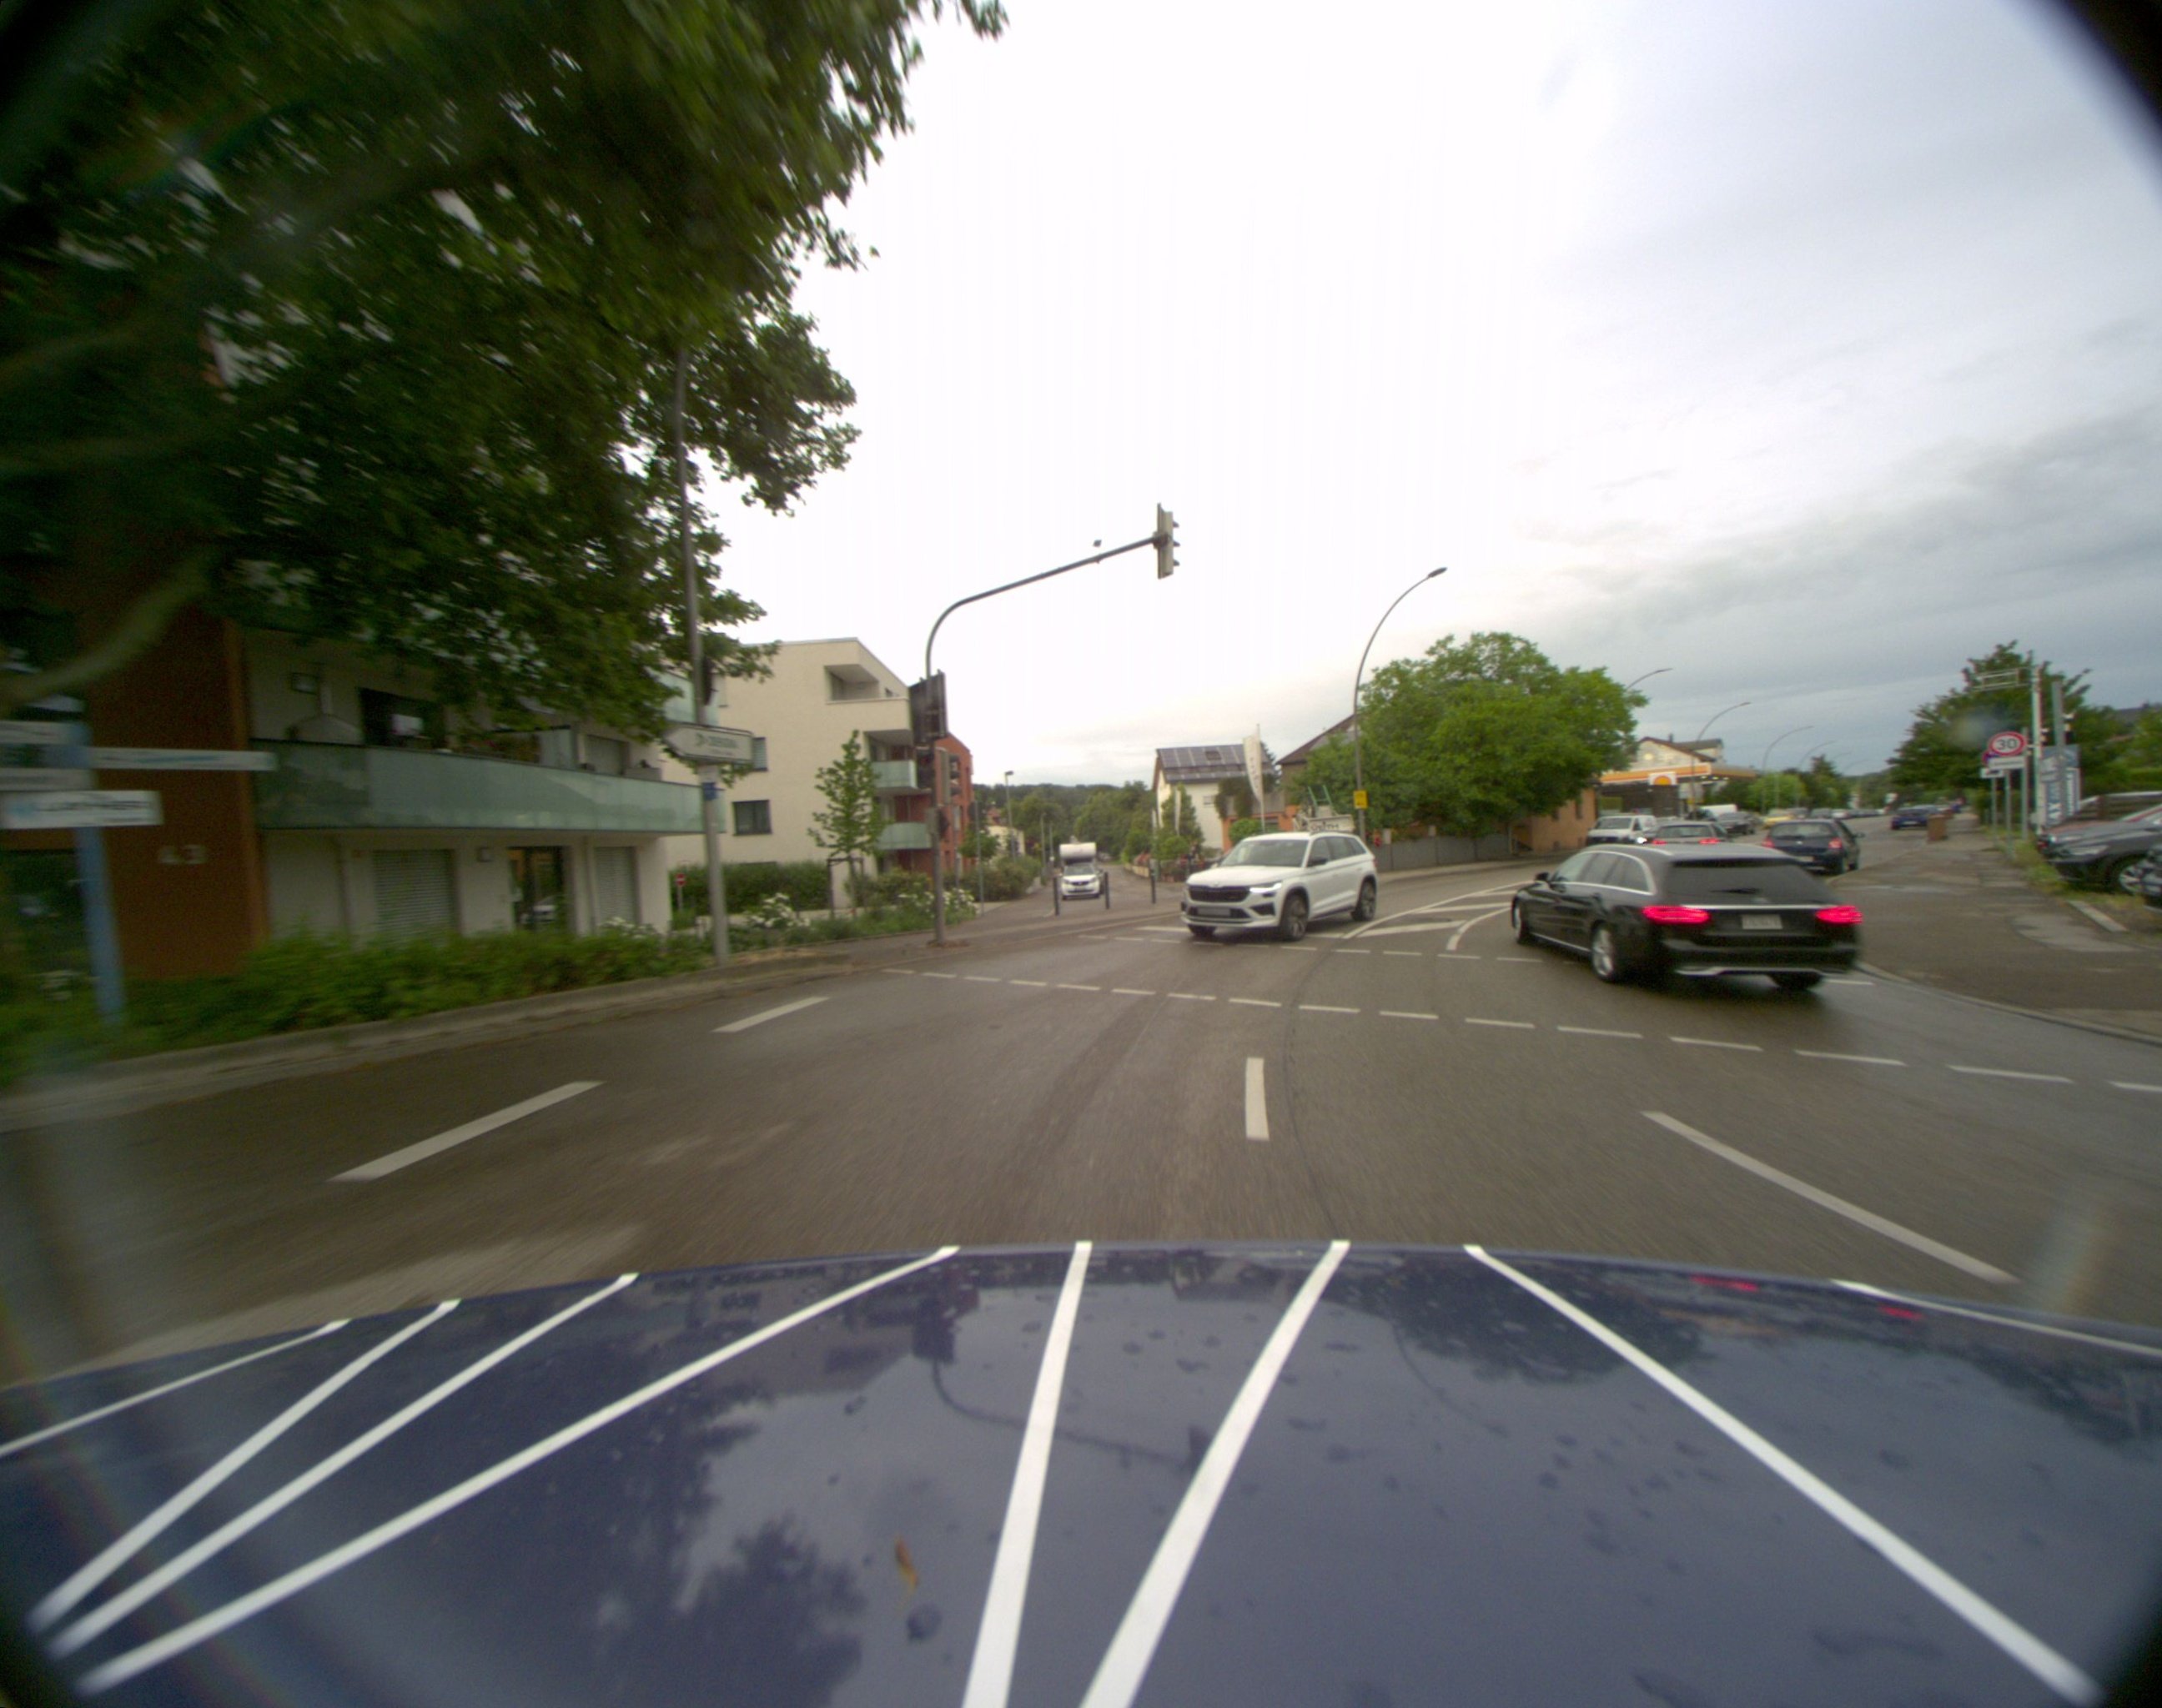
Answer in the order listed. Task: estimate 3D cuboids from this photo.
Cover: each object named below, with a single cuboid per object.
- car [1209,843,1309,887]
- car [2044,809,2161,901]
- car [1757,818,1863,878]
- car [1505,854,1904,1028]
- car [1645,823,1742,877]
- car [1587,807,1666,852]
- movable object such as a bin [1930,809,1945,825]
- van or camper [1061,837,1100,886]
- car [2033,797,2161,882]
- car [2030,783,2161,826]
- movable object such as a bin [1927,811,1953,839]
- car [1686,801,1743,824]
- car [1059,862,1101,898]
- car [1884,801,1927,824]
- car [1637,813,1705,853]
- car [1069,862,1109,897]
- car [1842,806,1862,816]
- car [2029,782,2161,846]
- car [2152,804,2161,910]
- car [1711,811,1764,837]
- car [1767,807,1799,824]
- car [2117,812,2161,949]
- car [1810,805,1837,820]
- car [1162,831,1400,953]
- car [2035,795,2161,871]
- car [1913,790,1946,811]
[{"bbox_3d":[8.319,0.531,35.761,2.004,1.859,4.126,-3,-1,-39],"label":"car"},{"bbox_3d":[18.275,-0.043,11.844,1.806,1.432,3.990,-3,0,-38],"label":"car"},{"bbox_3d":[20.063,-0.202,20.880,3.689,1.425,1.627,-4,2,-39],"label":"car"},{"bbox_3d":[6.463,0.747,8.611,1.709,1.384,4.353,-1,1,12],"label":"car"},{"bbox_3d":[18.648,-0.115,23.072,4.008,1.447,1.725,-1,-2,-44],"label":"car"},{"bbox_3d":[26.833,-1.225,37.318,4.762,2.017,1.779,-3,0,-38],"label":"car"},{"bbox_3d":[52.096,-2.230,46.213,0.425,0.905,0.540,-4,-1,-42],"label":"movable object such as a bin"},{"bbox_3d":[-0.062,0.520,51.266,2.325,2.977,5.950,-3,0,0],"label":"van or camper"},{"bbox_3d":[20.754,-0.330,13.972,1.806,1.535,3.990,-3,0,-38],"label":"car"},{"bbox_3d":[48.502,-2.313,35.774,1.901,1.780,4.559,-4,2,-44],"label":"car"},{"bbox_3d":[37.098,-1.260,32.825,0.736,1.123,0.708,-4,1,-40],"label":"movable object such as a bin"},{"bbox_3d":[75.830,-4.946,91.068,4.792,2.506,2.251,-2,1,28],"label":"car"},{"bbox_3d":[-0.073,1.152,34.281,1.727,1.463,2.743,-3,0,-1],"label":"car"},{"bbox_3d":[55.198,-2.783,50.857,3.951,1.395,1.807,-4,3,-40],"label":"car"},{"bbox_3d":[25.550,-0.915,32.857,4.007,1.552,1.774,-3,0,-44],"label":"car"},{"bbox_3d":[0.392,1.264,39.078,1.851,1.533,4.128,-3,0,0],"label":"car"},{"bbox_3d":[114.737,-6.391,113.056,4.117,1.410,1.752,-3,1,-41],"label":"car"},{"bbox_3d":[30.412,-1.185,21.561,2.062,1.682,4.350,-4,1,-40],"label":"car"},{"bbox_3d":[16.397,-0.026,9.105,1.694,1.521,3.949,-3,-1,-40],"label":"car"},{"bbox_3d":[47.048,-2.131,54.441,4.567,1.652,2.093,-3,-1,-40],"label":"car"},{"bbox_3d":[63.685,-3.474,68.909,3.808,1.394,1.657,-4,1,-41],"label":"car"},{"bbox_3d":[13.703,0.198,7.406,3.949,1.521,1.625,-3,0,40],"label":"car"},{"bbox_3d":[87.800,-4.918,89.817,4.007,1.587,1.994,-3,2,-42],"label":"car"},{"bbox_3d":[3.638,0.498,13.149,1.880,1.651,4.840,-1,2,43],"label":"car"},{"bbox_3d":[23.275,-0.499,15.952,1.806,1.535,3.990,-3,0,-38],"label":"car"},{"bbox_3d":[63.568,-4.006,56.899,3.603,1.395,1.546,-4,3,-41],"label":"car"}]
